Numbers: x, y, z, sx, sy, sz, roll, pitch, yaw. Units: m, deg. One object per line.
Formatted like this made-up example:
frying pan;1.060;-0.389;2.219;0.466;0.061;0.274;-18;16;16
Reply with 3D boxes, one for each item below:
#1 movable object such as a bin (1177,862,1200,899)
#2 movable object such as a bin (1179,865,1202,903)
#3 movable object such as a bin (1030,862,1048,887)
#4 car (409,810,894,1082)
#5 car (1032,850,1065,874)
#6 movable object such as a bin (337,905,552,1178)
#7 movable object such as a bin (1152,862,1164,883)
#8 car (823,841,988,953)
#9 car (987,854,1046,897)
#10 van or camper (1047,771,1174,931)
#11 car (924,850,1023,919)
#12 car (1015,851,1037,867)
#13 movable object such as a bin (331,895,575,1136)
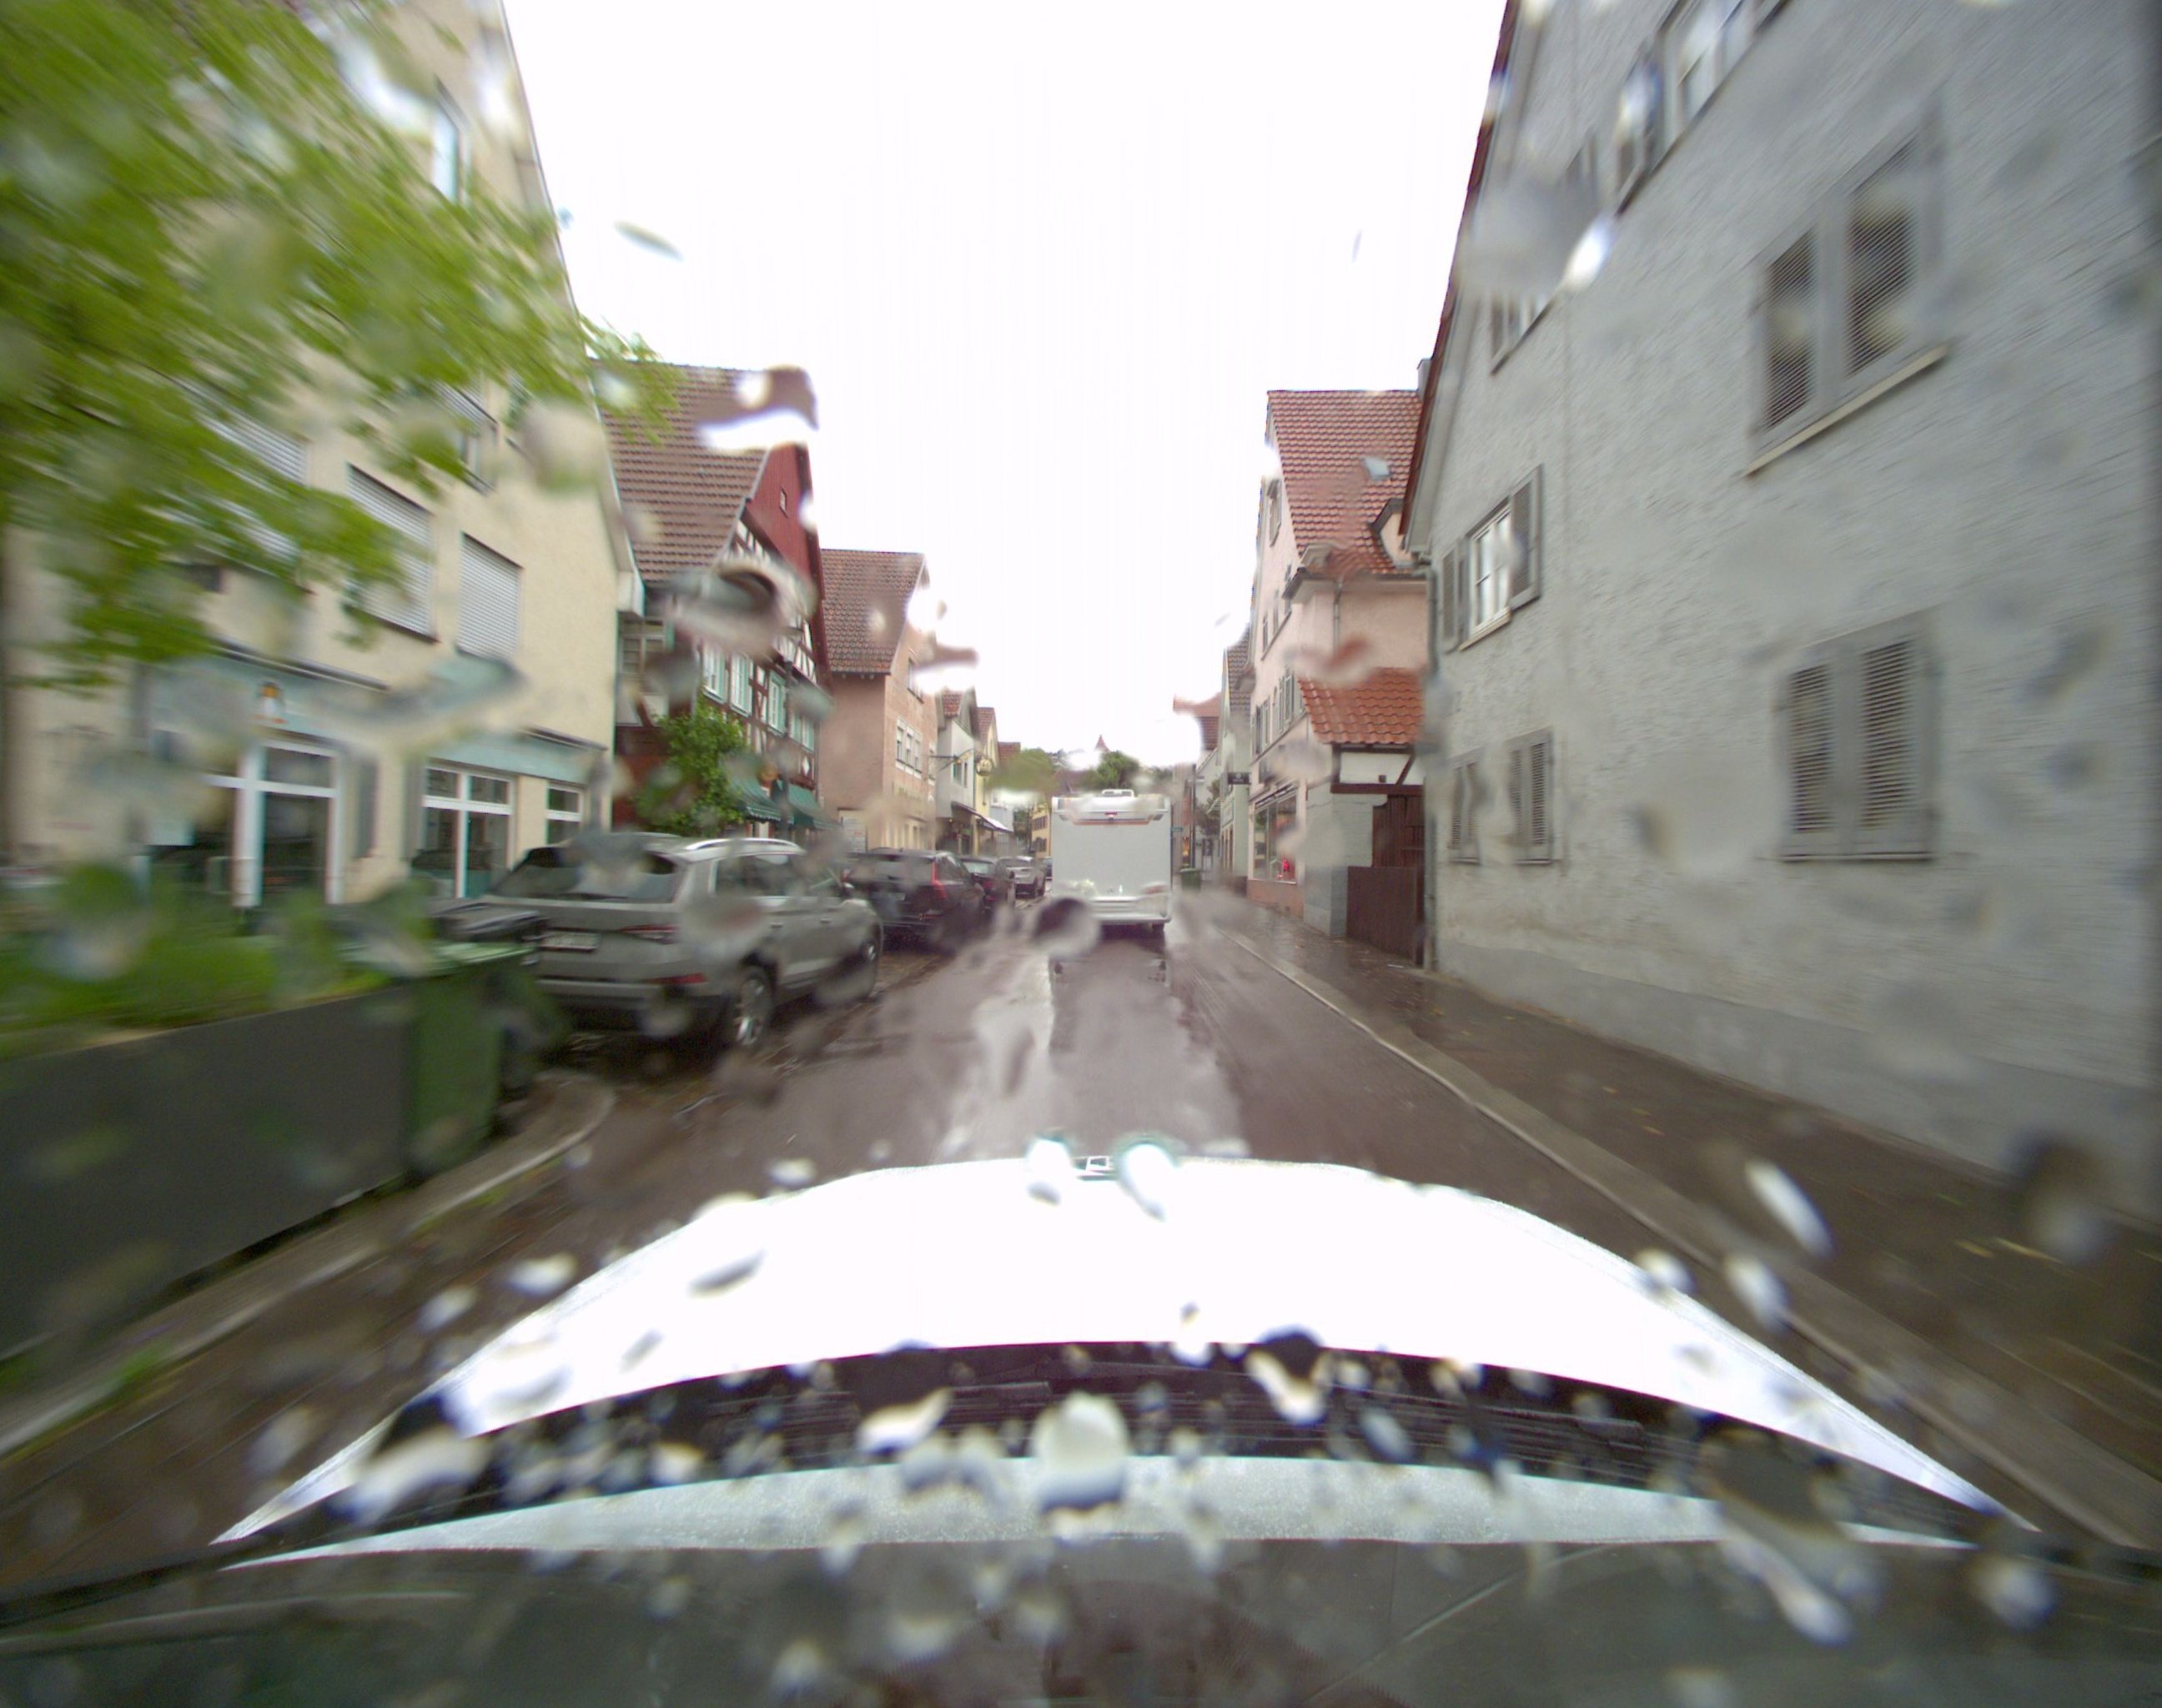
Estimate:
movable object such as a bin;3.579;0.882;27.120;0.715;1.201;0.579;0;-2;3
movable object such as a bin;3.556;0.966;26.523;0.715;1.201;0.573;0;-2;3
movable object such as a bin;-2.006;0.978;38.918;0.813;1.106;0.609;3;-2;-3
car;-3.263;0.626;7.443;1.764;1.675;4.483;2;-1;4
car;-2.154;0.518;53.159;1.989;1.472;3.995;1;0;-3
movable object such as a bin;-3.065;0.861;3.963;0.599;1.201;0.524;0;-2;5
movable object such as a bin;4.572;1.106;48.249;0.656;1.239;0.621;0;-1;1
car;-2.890;0.693;14.478;1.827;1.675;4.541;0;-1;1
car;-2.413;0.820;31.332;1.820;1.566;4.001;0;-1;2
van or camper;0.518;0.020;18.094;2.319;2.919;6.390;0;-1;-1
car;-2.591;0.743;20.665;1.827;1.552;4.282;0;-1;1
car;-6.982;0.649;102.776;1.998;2.014;3.977;1;-1;-16
movable object such as a bin;-3.467;0.844;4.565;0.741;1.201;0.749;0;-1;4
